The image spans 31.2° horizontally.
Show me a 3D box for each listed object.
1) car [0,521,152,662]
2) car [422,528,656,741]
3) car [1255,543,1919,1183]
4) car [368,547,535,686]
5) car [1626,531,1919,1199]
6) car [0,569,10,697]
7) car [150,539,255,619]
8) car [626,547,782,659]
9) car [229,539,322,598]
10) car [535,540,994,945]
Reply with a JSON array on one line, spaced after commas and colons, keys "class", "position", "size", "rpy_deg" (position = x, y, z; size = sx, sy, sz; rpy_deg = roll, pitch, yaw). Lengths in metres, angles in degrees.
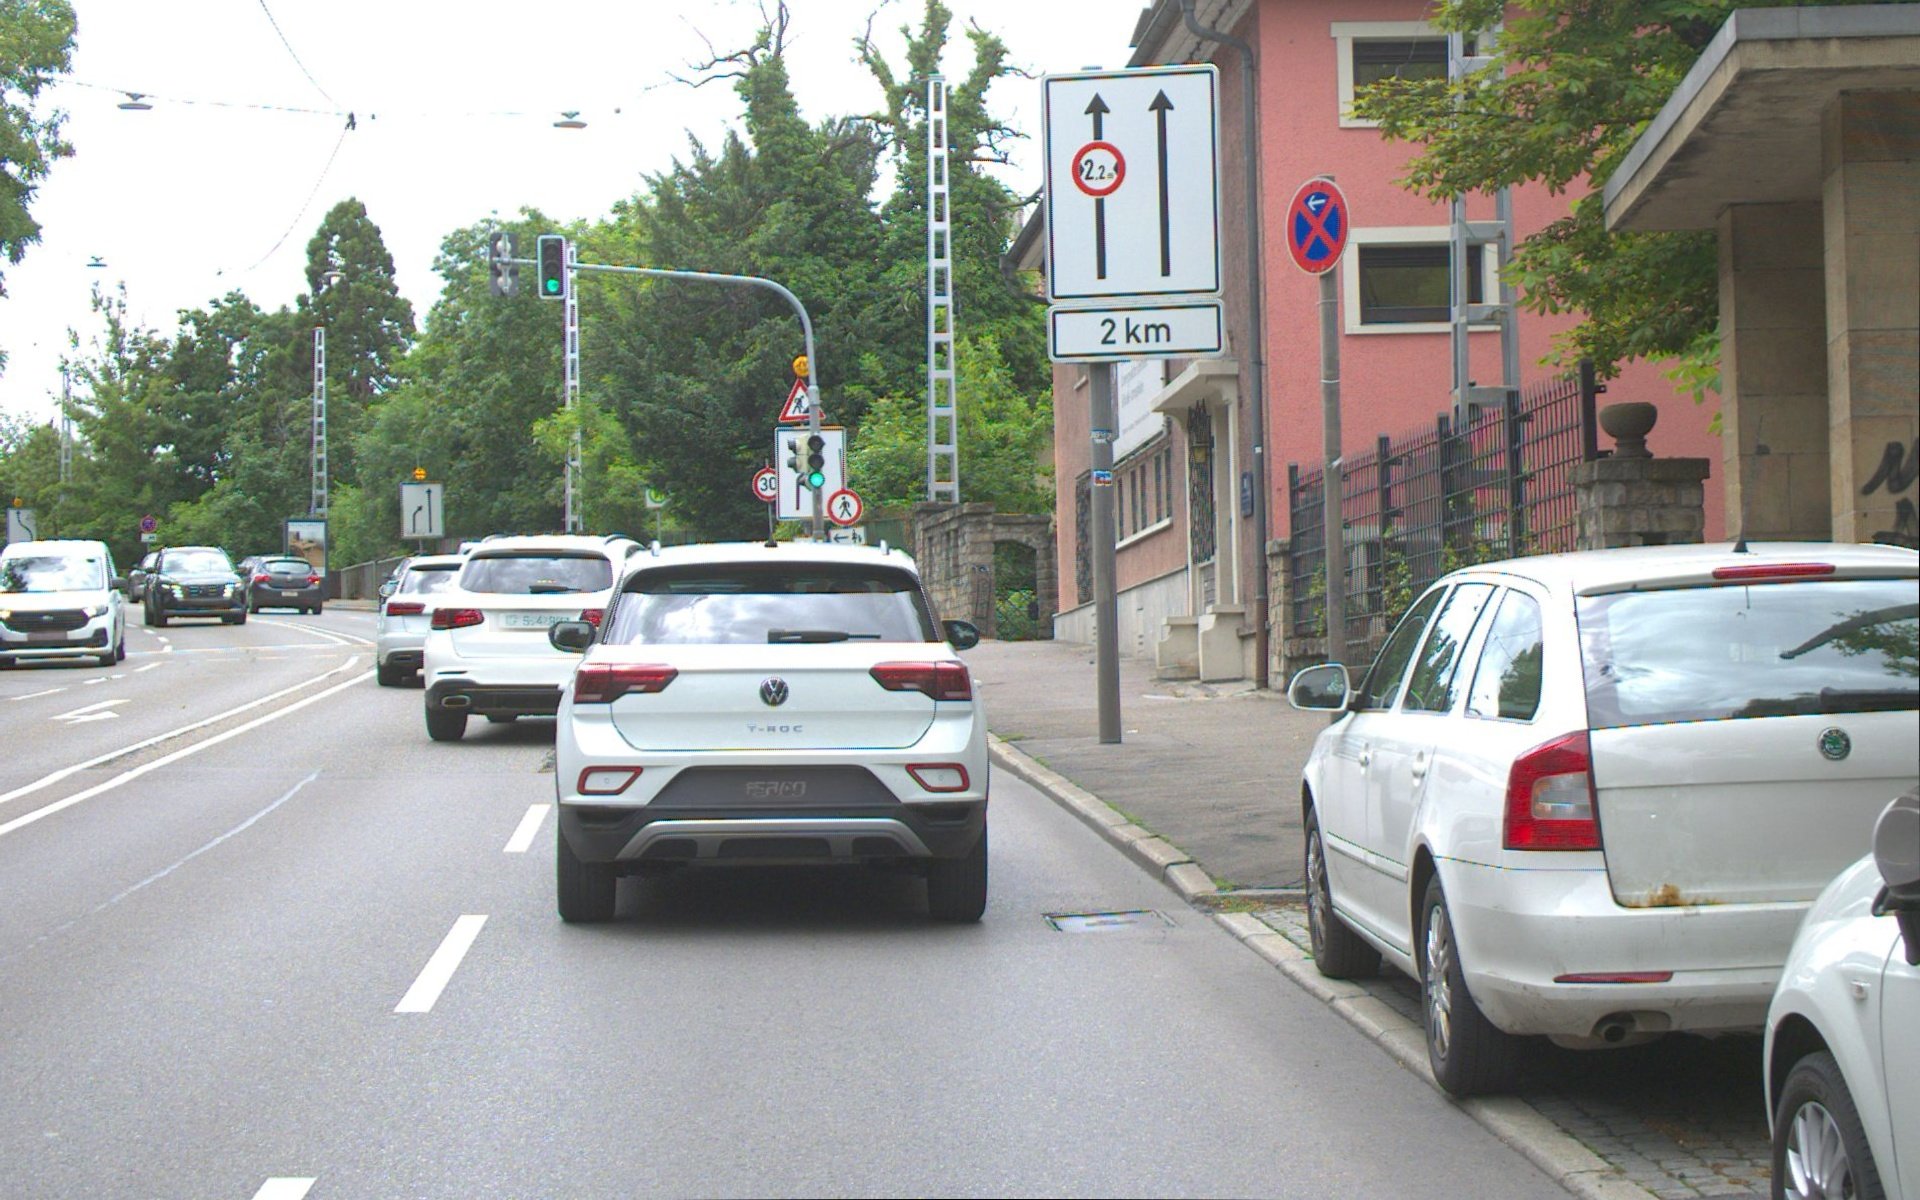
[{"class": "car", "position": [-12.985, -0.117, 49.847], "size": [1.892, 1.842, 4.397], "rpy_deg": [5, -1, -7]}, {"class": "car", "position": [-3.417, 0.267, 28.242], "size": [1.757, 1.604, 3.796], "rpy_deg": [1, 0, -6]}, {"class": "car", "position": [2.015, 0.591, 10.342], "size": [1.675, 1.456, 4.366], "rpy_deg": [-2, 1, -2]}, {"class": "car", "position": [-5.730, 0.181, 38.955], "size": [1.757, 1.466, 3.796], "rpy_deg": [1, 0, -8]}, {"class": "car", "position": [2.337, 0.613, 4.872], "size": [1.715, 1.466, 4.039], "rpy_deg": [-4, 1, -3]}, {"class": "car", "position": [-11.125, 0.400, 35.722], "size": [1.562, 1.397, 4.254], "rpy_deg": [-2, 1, -4]}, {"class": "car", "position": [-16.004, -0.464, 72.830], "size": [1.848, 1.626, 4.362], "rpy_deg": [0, 1, -8]}, {"class": "car", "position": [-3.481, 0.044, 46.764], "size": [1.993, 1.409, 4.151], "rpy_deg": [-1, 0, -4]}, {"class": "car", "position": [-17.338, -0.787, 86.951], "size": [1.780, 1.449, 4.001], "rpy_deg": [0, 0, -19]}, {"class": "car", "position": [-0.867, 0.557, 15.242], "size": [1.757, 1.550, 3.796], "rpy_deg": [1, 0, -3]}]
